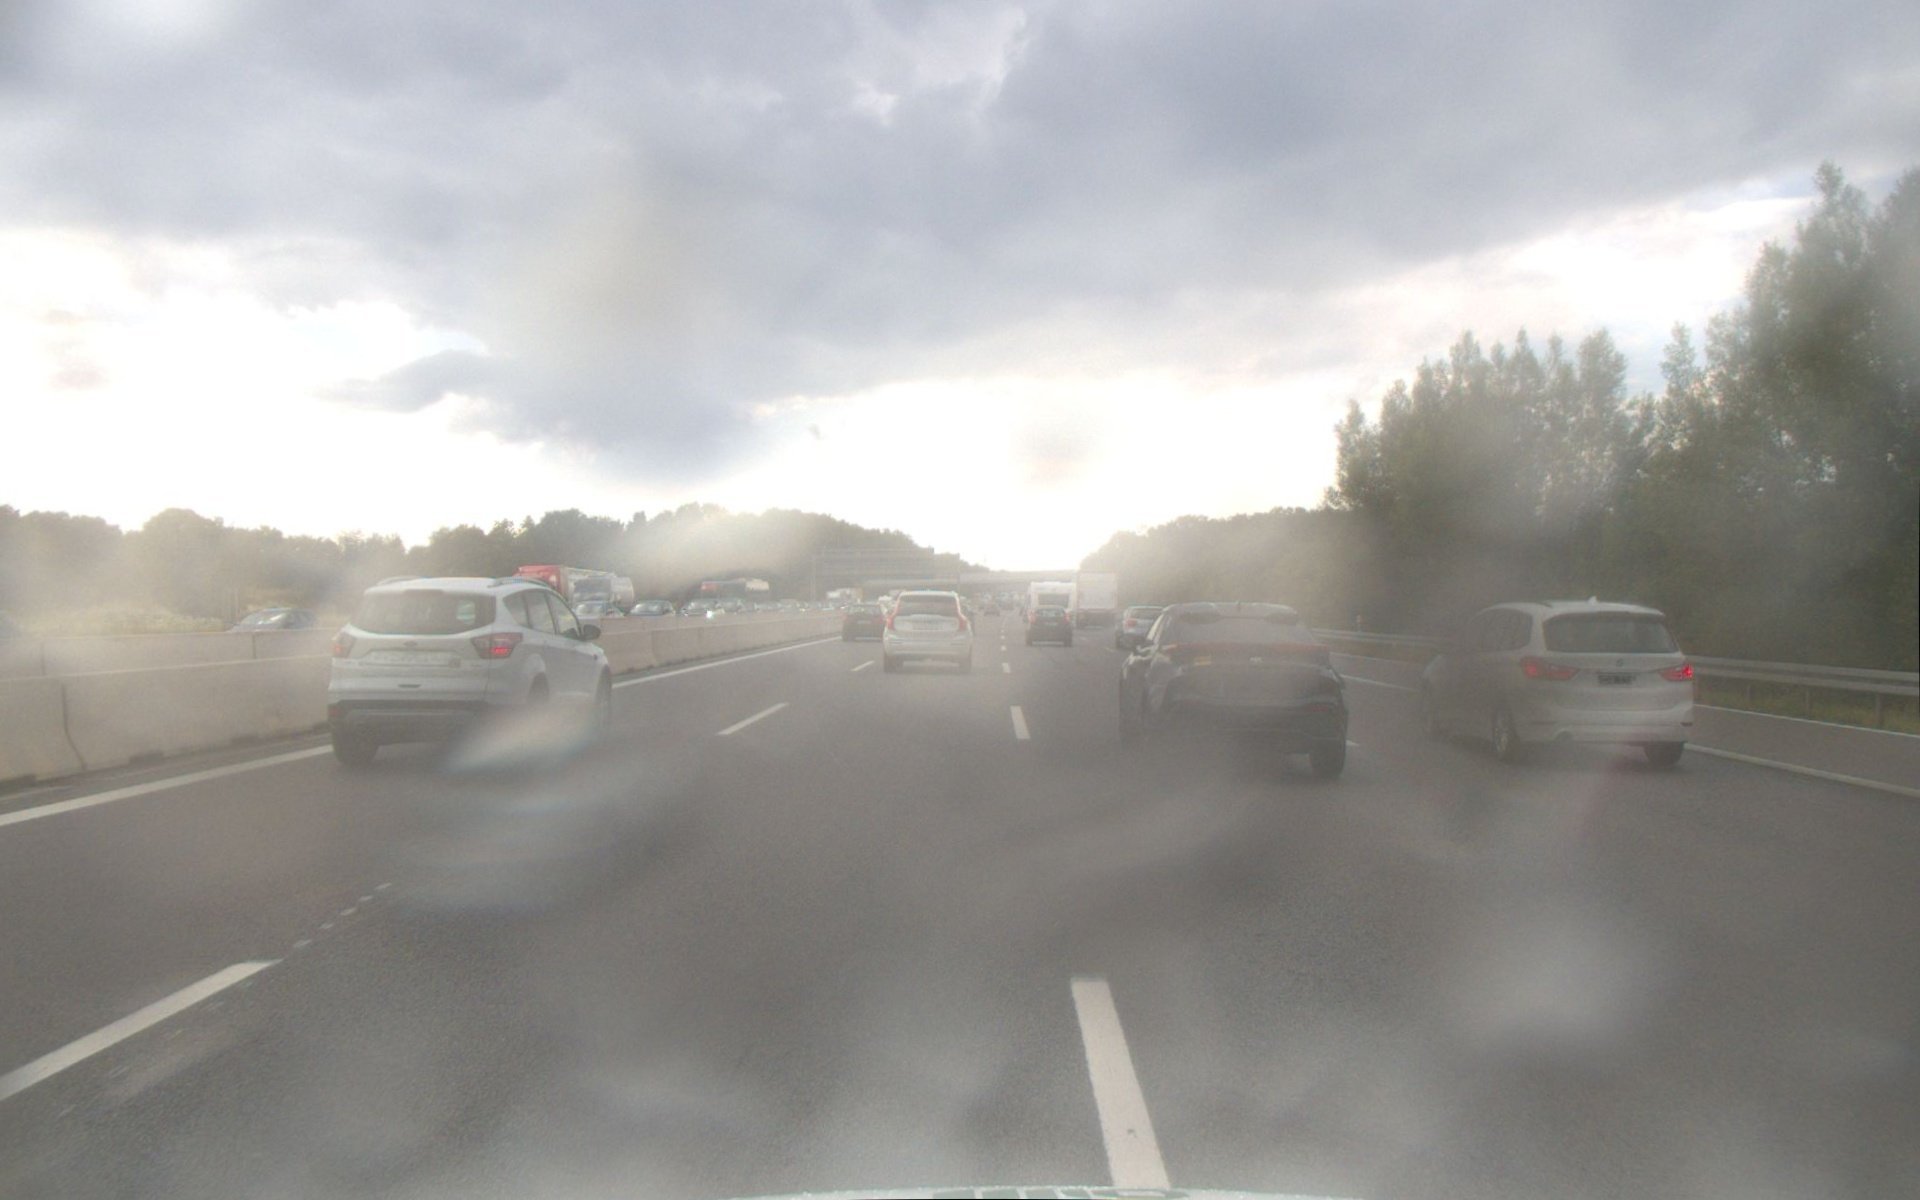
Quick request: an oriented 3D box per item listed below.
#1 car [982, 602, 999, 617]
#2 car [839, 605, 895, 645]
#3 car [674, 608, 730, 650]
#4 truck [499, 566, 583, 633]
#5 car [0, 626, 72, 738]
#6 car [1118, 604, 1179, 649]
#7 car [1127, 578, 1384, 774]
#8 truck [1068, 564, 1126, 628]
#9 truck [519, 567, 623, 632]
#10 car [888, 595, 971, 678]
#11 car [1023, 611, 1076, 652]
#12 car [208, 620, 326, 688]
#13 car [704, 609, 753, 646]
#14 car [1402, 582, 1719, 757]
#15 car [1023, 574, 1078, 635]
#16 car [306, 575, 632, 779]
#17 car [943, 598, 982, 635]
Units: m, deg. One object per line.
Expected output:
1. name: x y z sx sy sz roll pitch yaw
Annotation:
1. car: 3.414 1.046 188.306 1.843 1.715 4.000 0 0 0
2. car: -3.623 0.940 65.108 1.744 1.507 4.354 0 0 3
3. car: -13.025 1.439 83.677 1.952 2.001 4.697 0 0 2
4. truck: -24.508 -0.030 97.058 3.085 3.777 6.320 0 0 2
5. car: -18.792 1.546 31.020 1.812 2.049 4.536 0 0 0
6. car: 6.527 0.896 57.590 1.758 1.503 4.038 0 0 2
7. car: 2.717 0.645 16.198 1.744 1.641 4.598 0 0 1
8. truck: 8.577 -0.227 104.280 3.068 3.774 9.849 0 0 1
9. truck: -24.342 -0.036 104.336 3.083 3.811 13.301 0 0 1
10. car: -0.644 0.771 37.204 1.744 1.746 4.352 0 0 0
11. car: 3.307 1.152 61.689 1.846 1.431 4.283 0 0 1
12. car: -22.330 1.699 53.477 1.952 2.049 4.228 0 0 1
13. car: -12.992 1.497 93.080 1.952 2.001 4.697 0 0 2
14. car: 6.264 0.657 17.874 1.773 1.627 4.696 0 0 1
15. car: 4.527 0.221 83.821 2.514 2.946 7.535 0 0 1
16. car: -4.632 0.647 16.405 1.778 1.719 4.852 0 0 0
17. car: 0.113 0.790 79.420 1.843 1.715 4.000 0 0 0
